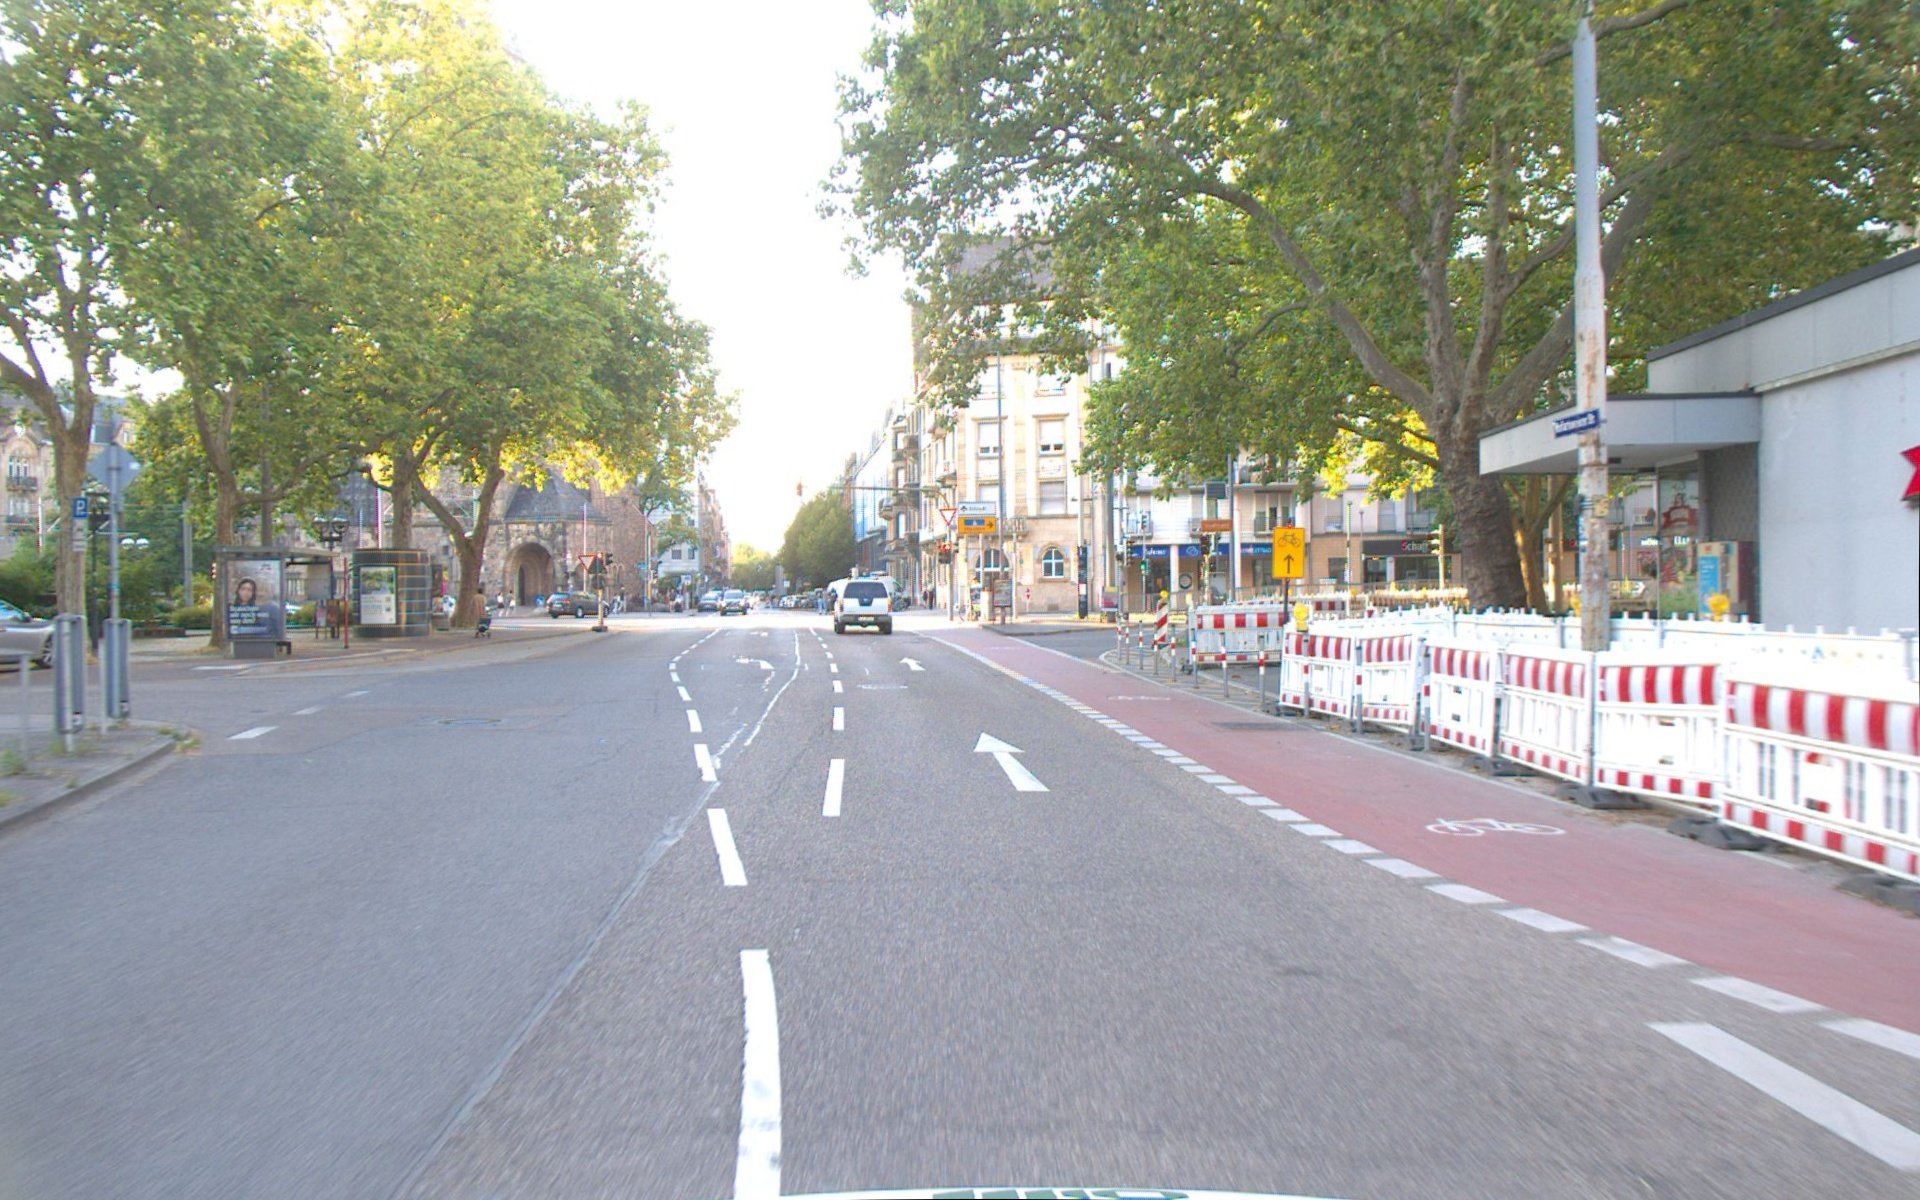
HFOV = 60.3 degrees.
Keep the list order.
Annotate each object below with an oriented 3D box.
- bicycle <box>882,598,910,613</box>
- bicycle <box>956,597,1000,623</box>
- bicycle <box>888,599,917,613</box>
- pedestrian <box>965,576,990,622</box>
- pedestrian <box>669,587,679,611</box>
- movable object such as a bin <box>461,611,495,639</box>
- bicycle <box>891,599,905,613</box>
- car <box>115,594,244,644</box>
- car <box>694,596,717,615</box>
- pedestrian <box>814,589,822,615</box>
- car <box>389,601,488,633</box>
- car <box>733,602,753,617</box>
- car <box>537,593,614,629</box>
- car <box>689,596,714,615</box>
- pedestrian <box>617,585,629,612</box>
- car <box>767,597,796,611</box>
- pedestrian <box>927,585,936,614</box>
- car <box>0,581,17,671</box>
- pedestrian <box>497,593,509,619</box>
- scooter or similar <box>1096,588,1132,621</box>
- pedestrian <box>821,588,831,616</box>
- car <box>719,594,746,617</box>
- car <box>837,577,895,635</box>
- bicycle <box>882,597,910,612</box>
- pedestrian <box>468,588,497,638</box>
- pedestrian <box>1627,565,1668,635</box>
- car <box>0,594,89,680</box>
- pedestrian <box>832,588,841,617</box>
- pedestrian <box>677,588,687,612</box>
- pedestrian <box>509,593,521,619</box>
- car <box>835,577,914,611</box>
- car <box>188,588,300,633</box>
[{"bbox_3d":[-4.312,0.400,111.797,1.877,0.985,0.545,-1,0,-5],"label":"bicycle"},{"bbox_3d":[0.710,0.401,64.896,1.661,0.985,0.544,-1,0,-10],"label":"bicycle"},{"bbox_3d":[-3.894,0.408,112.610,1.874,0.985,0.546,-1,0,11],"label":"bicycle"},{"bbox_3d":[0.691,-0.031,65.394,0.783,1.799,0.717,-1,0,-20],"label":"pedestrian"},{"bbox_3d":[-23.057,-0.043,133.214,0.581,1.919,0.585,-1,0,23],"label":"pedestrian"},{"bbox_3d":[-16.068,0.824,55.193,0.722,0.906,0.983,-1,0,9],"label":"movable object such as a bin"},{"bbox_3d":[-4.276,0.402,113.948,0.532,0.985,1.923,-1,0,11],"label":"bicycle"},{"bbox_3d":[-31.448,0.745,66.801,2.034,1.873,4.633,-1,1,18],"label":"car"},{"bbox_3d":[-23.245,0.471,151.043,1.958,1.680,3.811,1,0,-11],"label":"car"},{"bbox_3d":[-10.674,0.134,124.298,0.581,1.919,0.647,-1,0,-1],"label":"pedestrian"},{"bbox_3d":[-26.834,0.847,85.253,4.540,1.557,1.997,-1,0,-7],"label":"car"},{"bbox_3d":[-24.128,1.055,184.070,1.958,1.533,3.811,1,0,-11],"label":"car"},{"bbox_3d":[-21.307,0.601,91.897,2.034,1.873,4.633,-1,1,18],"label":"car"},{"bbox_3d":[-22.404,0.472,143.333,1.958,1.680,3.811,1,0,-11],"label":"car"},{"bbox_3d":[-24.475,-0.108,120.158,0.640,1.919,0.586,-1,0,22],"label":"pedestrian"},{"bbox_3d":[-24.220,0.547,224.221,3.913,1.847,1.996,-1,0,-9],"label":"car"},{"bbox_3d":[-1.900,-0.044,109.359,0.581,1.919,0.647,-1,0,-1],"label":"pedestrian"},{"bbox_3d":[-20.935,0.582,32.095,1.780,1.831,4.635,-1,1,16],"label":"car"},{"bbox_3d":[-29.326,0.374,106.157,0.544,1.612,0.548,-1,0,4],"label":"pedestrian"},{"bbox_3d":[6.026,0.161,64.819,0.541,1.272,1.368,-1,0,-42],"label":"scooter or similar"},{"bbox_3d":[-9.316,0.144,115.057,0.581,1.919,0.647,-1,0,-1],"label":"pedestrian"},{"bbox_3d":[-16.786,0.418,121.829,1.749,1.680,3.811,1,0,-11],"label":"car"},{"bbox_3d":[-3.199,0.184,55.719,1.829,1.846,3.996,-2,0,-4],"label":"car"},{"bbox_3d":[-4.325,0.283,111.517,1.877,0.985,0.545,-1,0,-5],"label":"bicycle"},{"bbox_3d":[-16.189,0.441,56.092,0.722,1.657,0.686,-1,0,9],"label":"pedestrian"},{"bbox_3d":[17.722,-0.002,42.641,0.650,1.789,0.714,-1,0,-19],"label":"pedestrian"},{"bbox_3d":[-18.346,0.708,30.251,1.780,1.507,4.636,-1,1,10],"label":"car"},{"bbox_3d":[-8.321,0.153,111.606,0.581,1.919,0.647,-1,0,-1],"label":"pedestrian"},{"bbox_3d":[-22.362,0.020,133.099,0.581,1.919,0.553,-1,0,22],"label":"pedestrian"},{"bbox_3d":[-28.605,0.383,106.290,0.544,1.612,0.548,-1,0,4],"label":"pedestrian"},{"bbox_3d":[-6.051,-0.442,117.943,2.037,2.328,5.784,-1,0,44],"label":"car"},{"bbox_3d":[-32.022,0.451,74.123,2.034,1.873,4.633,-1,1,18],"label":"car"}]
